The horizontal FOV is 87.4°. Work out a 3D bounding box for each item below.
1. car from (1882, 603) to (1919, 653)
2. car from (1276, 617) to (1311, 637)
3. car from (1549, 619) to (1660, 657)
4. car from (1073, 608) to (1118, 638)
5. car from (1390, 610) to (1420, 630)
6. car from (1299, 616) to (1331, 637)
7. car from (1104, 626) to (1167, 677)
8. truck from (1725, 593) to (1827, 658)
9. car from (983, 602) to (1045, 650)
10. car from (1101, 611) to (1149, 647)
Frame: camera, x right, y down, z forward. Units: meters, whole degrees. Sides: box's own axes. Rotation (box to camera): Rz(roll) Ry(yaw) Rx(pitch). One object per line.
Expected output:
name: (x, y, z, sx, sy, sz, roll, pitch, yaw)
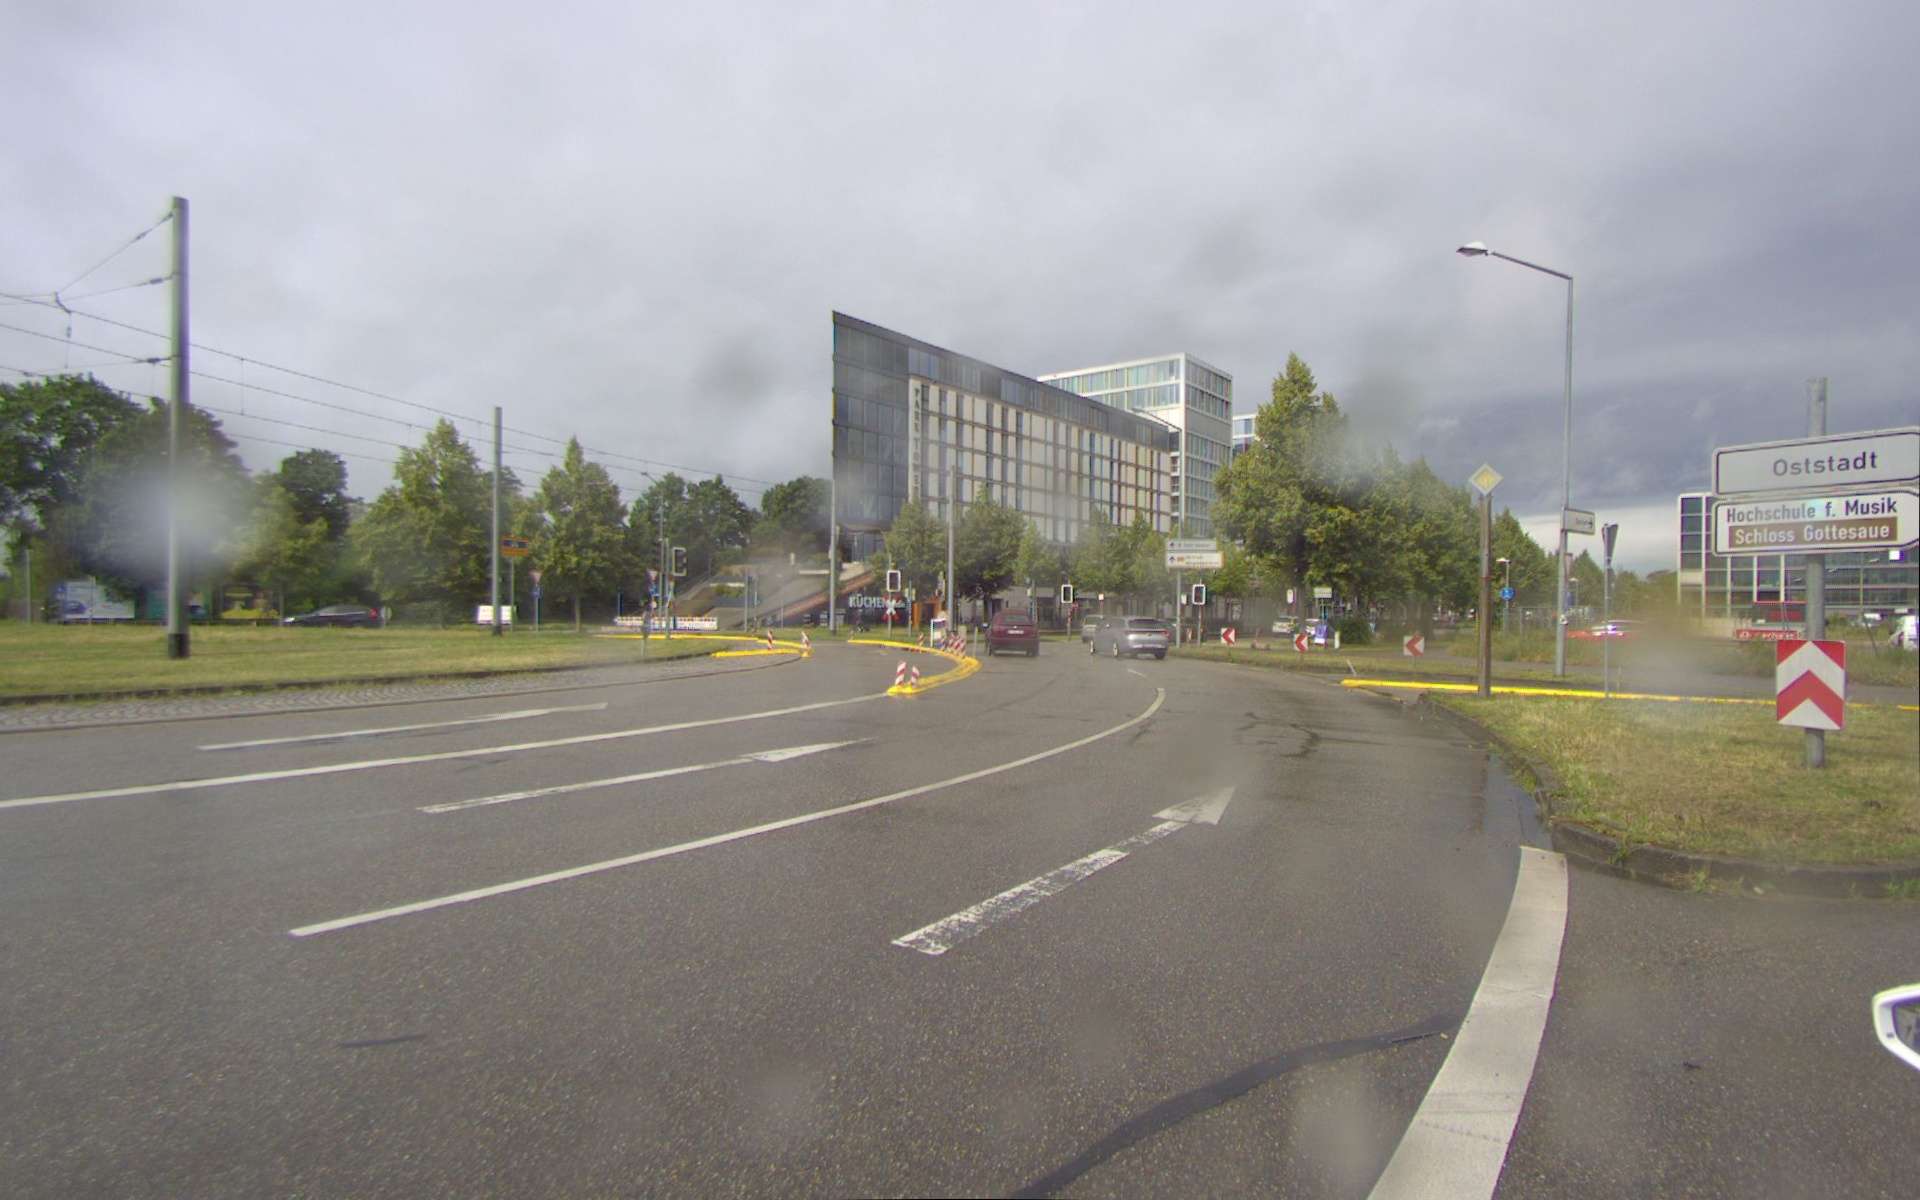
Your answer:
car: (36.990, 1.044, 38.677, 1.828, 1.723, 3.983, 0, 2, 38)
car: (26.250, 2.121, 79.036, 1.477, 1.530, 3.485, 2, 0, 38)
car: (28.927, 1.674, 45.175, 4.121, 1.531, 1.852, 0, 1, 34)
car: (7.518, 1.237, 55.602, 1.521, 1.581, 3.497, 0, 0, 25)
car: (47.123, 2.088, 106.399, 1.969, 2.040, 3.983, 1, 0, 38)
car: (26.715, 1.977, 75.513, 1.475, 1.530, 3.490, 2, 0, 34)
car: (6.014, 1.735, 34.714, 1.568, 1.581, 3.550, 0, -1, 0)
truck: (32.309, 0.912, 39.691, 6.057, 2.241, 2.367, -2, 2, -43)
car: (1.718, 0.863, 33.351, 1.687, 1.481, 3.999, 0, -2, -2)
car: (7.615, 1.297, 46.146, 1.520, 1.581, 3.500, 0, 0, 20)
